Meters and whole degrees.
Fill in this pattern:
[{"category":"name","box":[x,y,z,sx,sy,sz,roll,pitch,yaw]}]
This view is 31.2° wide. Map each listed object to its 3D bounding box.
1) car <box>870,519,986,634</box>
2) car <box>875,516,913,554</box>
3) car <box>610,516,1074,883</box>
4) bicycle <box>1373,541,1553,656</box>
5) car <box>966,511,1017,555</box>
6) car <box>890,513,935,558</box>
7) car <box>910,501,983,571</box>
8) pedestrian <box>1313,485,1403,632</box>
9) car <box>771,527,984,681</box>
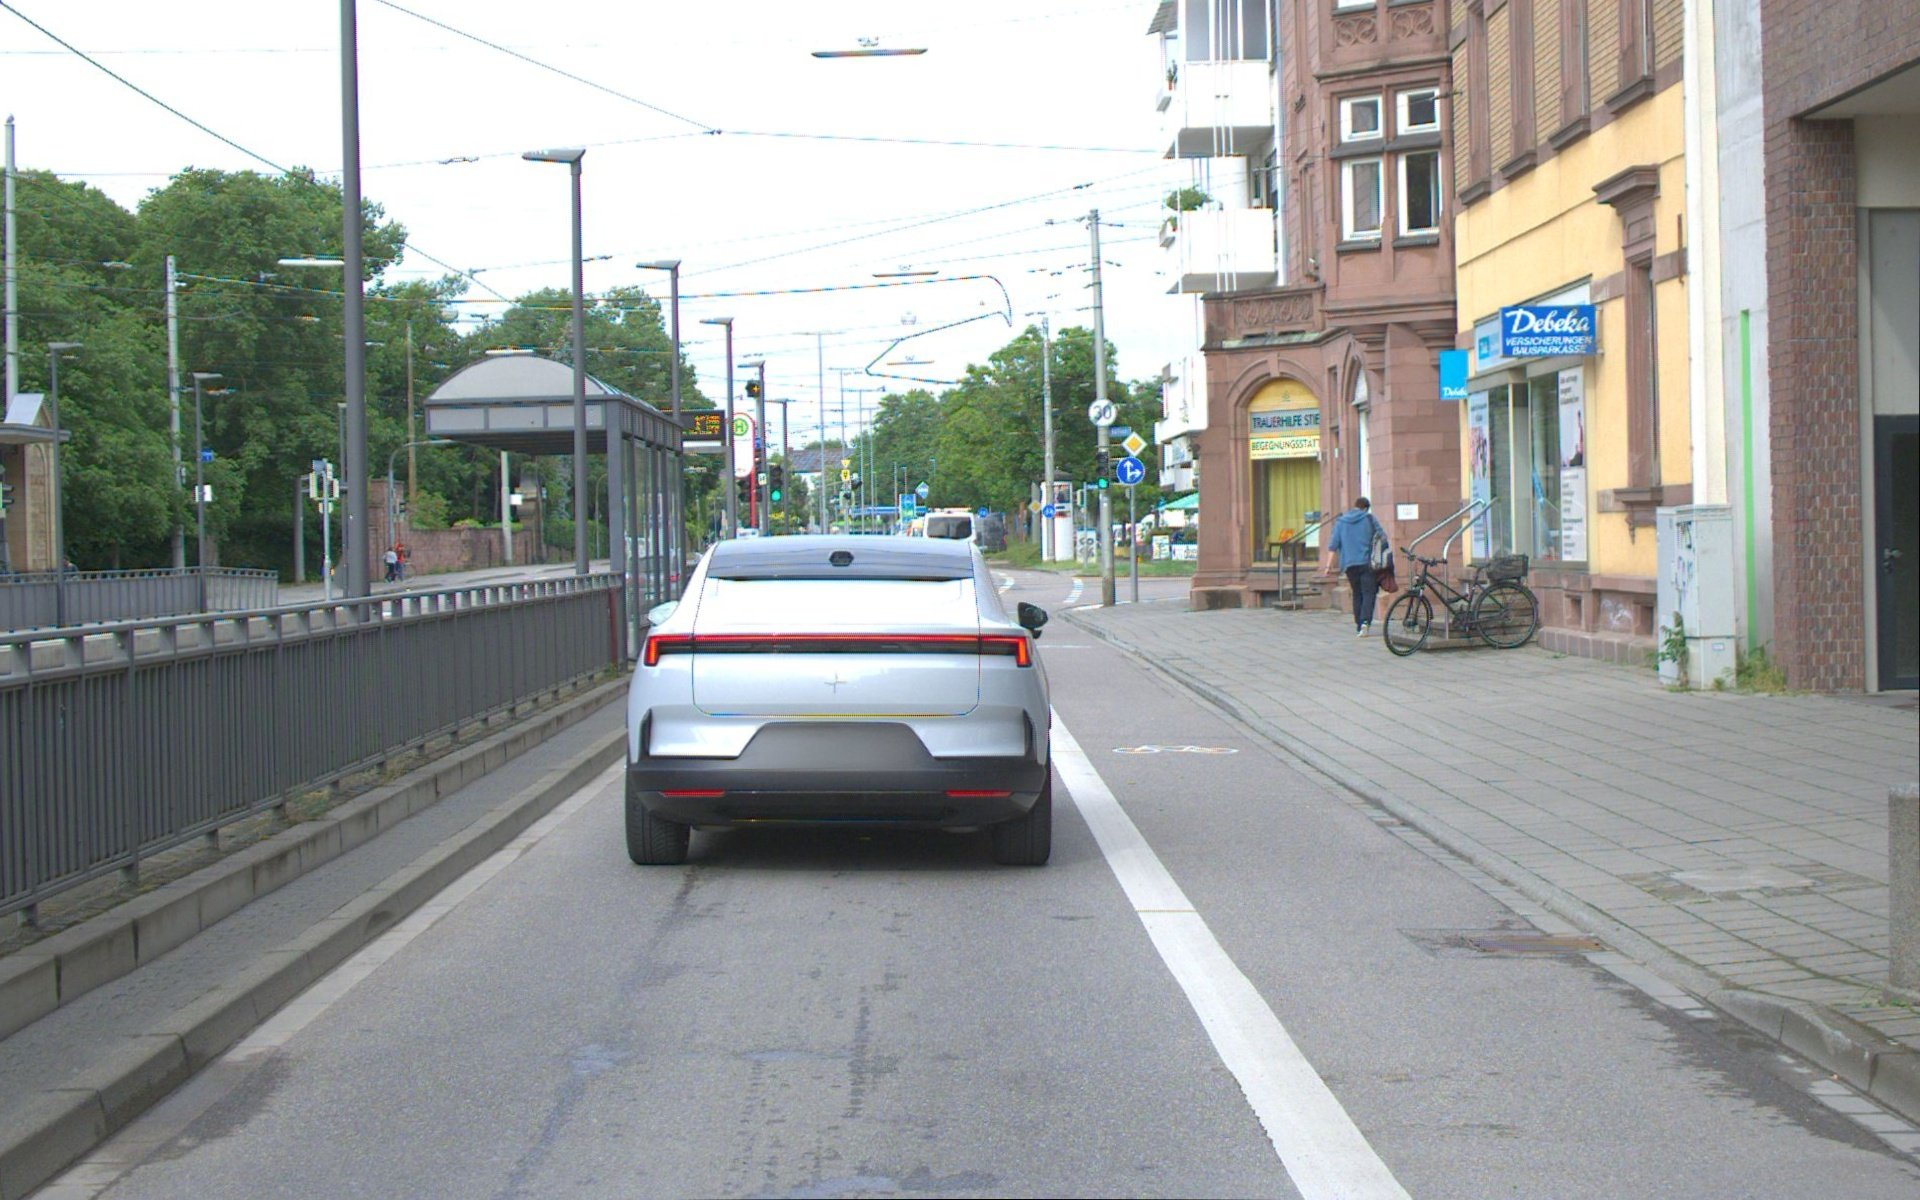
[{"category":"car","box":[-0.477,-0.362,51.850,1.681,1.682,3.824,0,1,0]},{"category":"car","box":[-3.552,-3.533,185.454,1.993,2.007,4.000,-1,1,-1]},{"category":"car","box":[-0.646,0.411,16.813,1.999,1.575,4.001,0,0,-4]},{"category":"bicycle","box":[5.426,-0.025,37.145,1.777,1.126,0.642,-3,1,-1]},{"category":"car","box":[1.788,-3.827,196.717,2.807,2.496,5.722,0,1,0]},{"category":"car","box":[-2.170,-2.983,157.641,1.993,2.007,4.000,-1,1,-1]},{"category":"car","box":[-0.506,-2.231,121.222,2.225,2.394,5.124,0,1,-4]},{"category":"pedestrian","box":[5.161,-0.550,44.615,0.961,1.843,0.975,-3,2,0]},{"category":"car","box":[-0.847,-0.002,34.858,1.993,1.415,4.000,-1,1,-2]}]
